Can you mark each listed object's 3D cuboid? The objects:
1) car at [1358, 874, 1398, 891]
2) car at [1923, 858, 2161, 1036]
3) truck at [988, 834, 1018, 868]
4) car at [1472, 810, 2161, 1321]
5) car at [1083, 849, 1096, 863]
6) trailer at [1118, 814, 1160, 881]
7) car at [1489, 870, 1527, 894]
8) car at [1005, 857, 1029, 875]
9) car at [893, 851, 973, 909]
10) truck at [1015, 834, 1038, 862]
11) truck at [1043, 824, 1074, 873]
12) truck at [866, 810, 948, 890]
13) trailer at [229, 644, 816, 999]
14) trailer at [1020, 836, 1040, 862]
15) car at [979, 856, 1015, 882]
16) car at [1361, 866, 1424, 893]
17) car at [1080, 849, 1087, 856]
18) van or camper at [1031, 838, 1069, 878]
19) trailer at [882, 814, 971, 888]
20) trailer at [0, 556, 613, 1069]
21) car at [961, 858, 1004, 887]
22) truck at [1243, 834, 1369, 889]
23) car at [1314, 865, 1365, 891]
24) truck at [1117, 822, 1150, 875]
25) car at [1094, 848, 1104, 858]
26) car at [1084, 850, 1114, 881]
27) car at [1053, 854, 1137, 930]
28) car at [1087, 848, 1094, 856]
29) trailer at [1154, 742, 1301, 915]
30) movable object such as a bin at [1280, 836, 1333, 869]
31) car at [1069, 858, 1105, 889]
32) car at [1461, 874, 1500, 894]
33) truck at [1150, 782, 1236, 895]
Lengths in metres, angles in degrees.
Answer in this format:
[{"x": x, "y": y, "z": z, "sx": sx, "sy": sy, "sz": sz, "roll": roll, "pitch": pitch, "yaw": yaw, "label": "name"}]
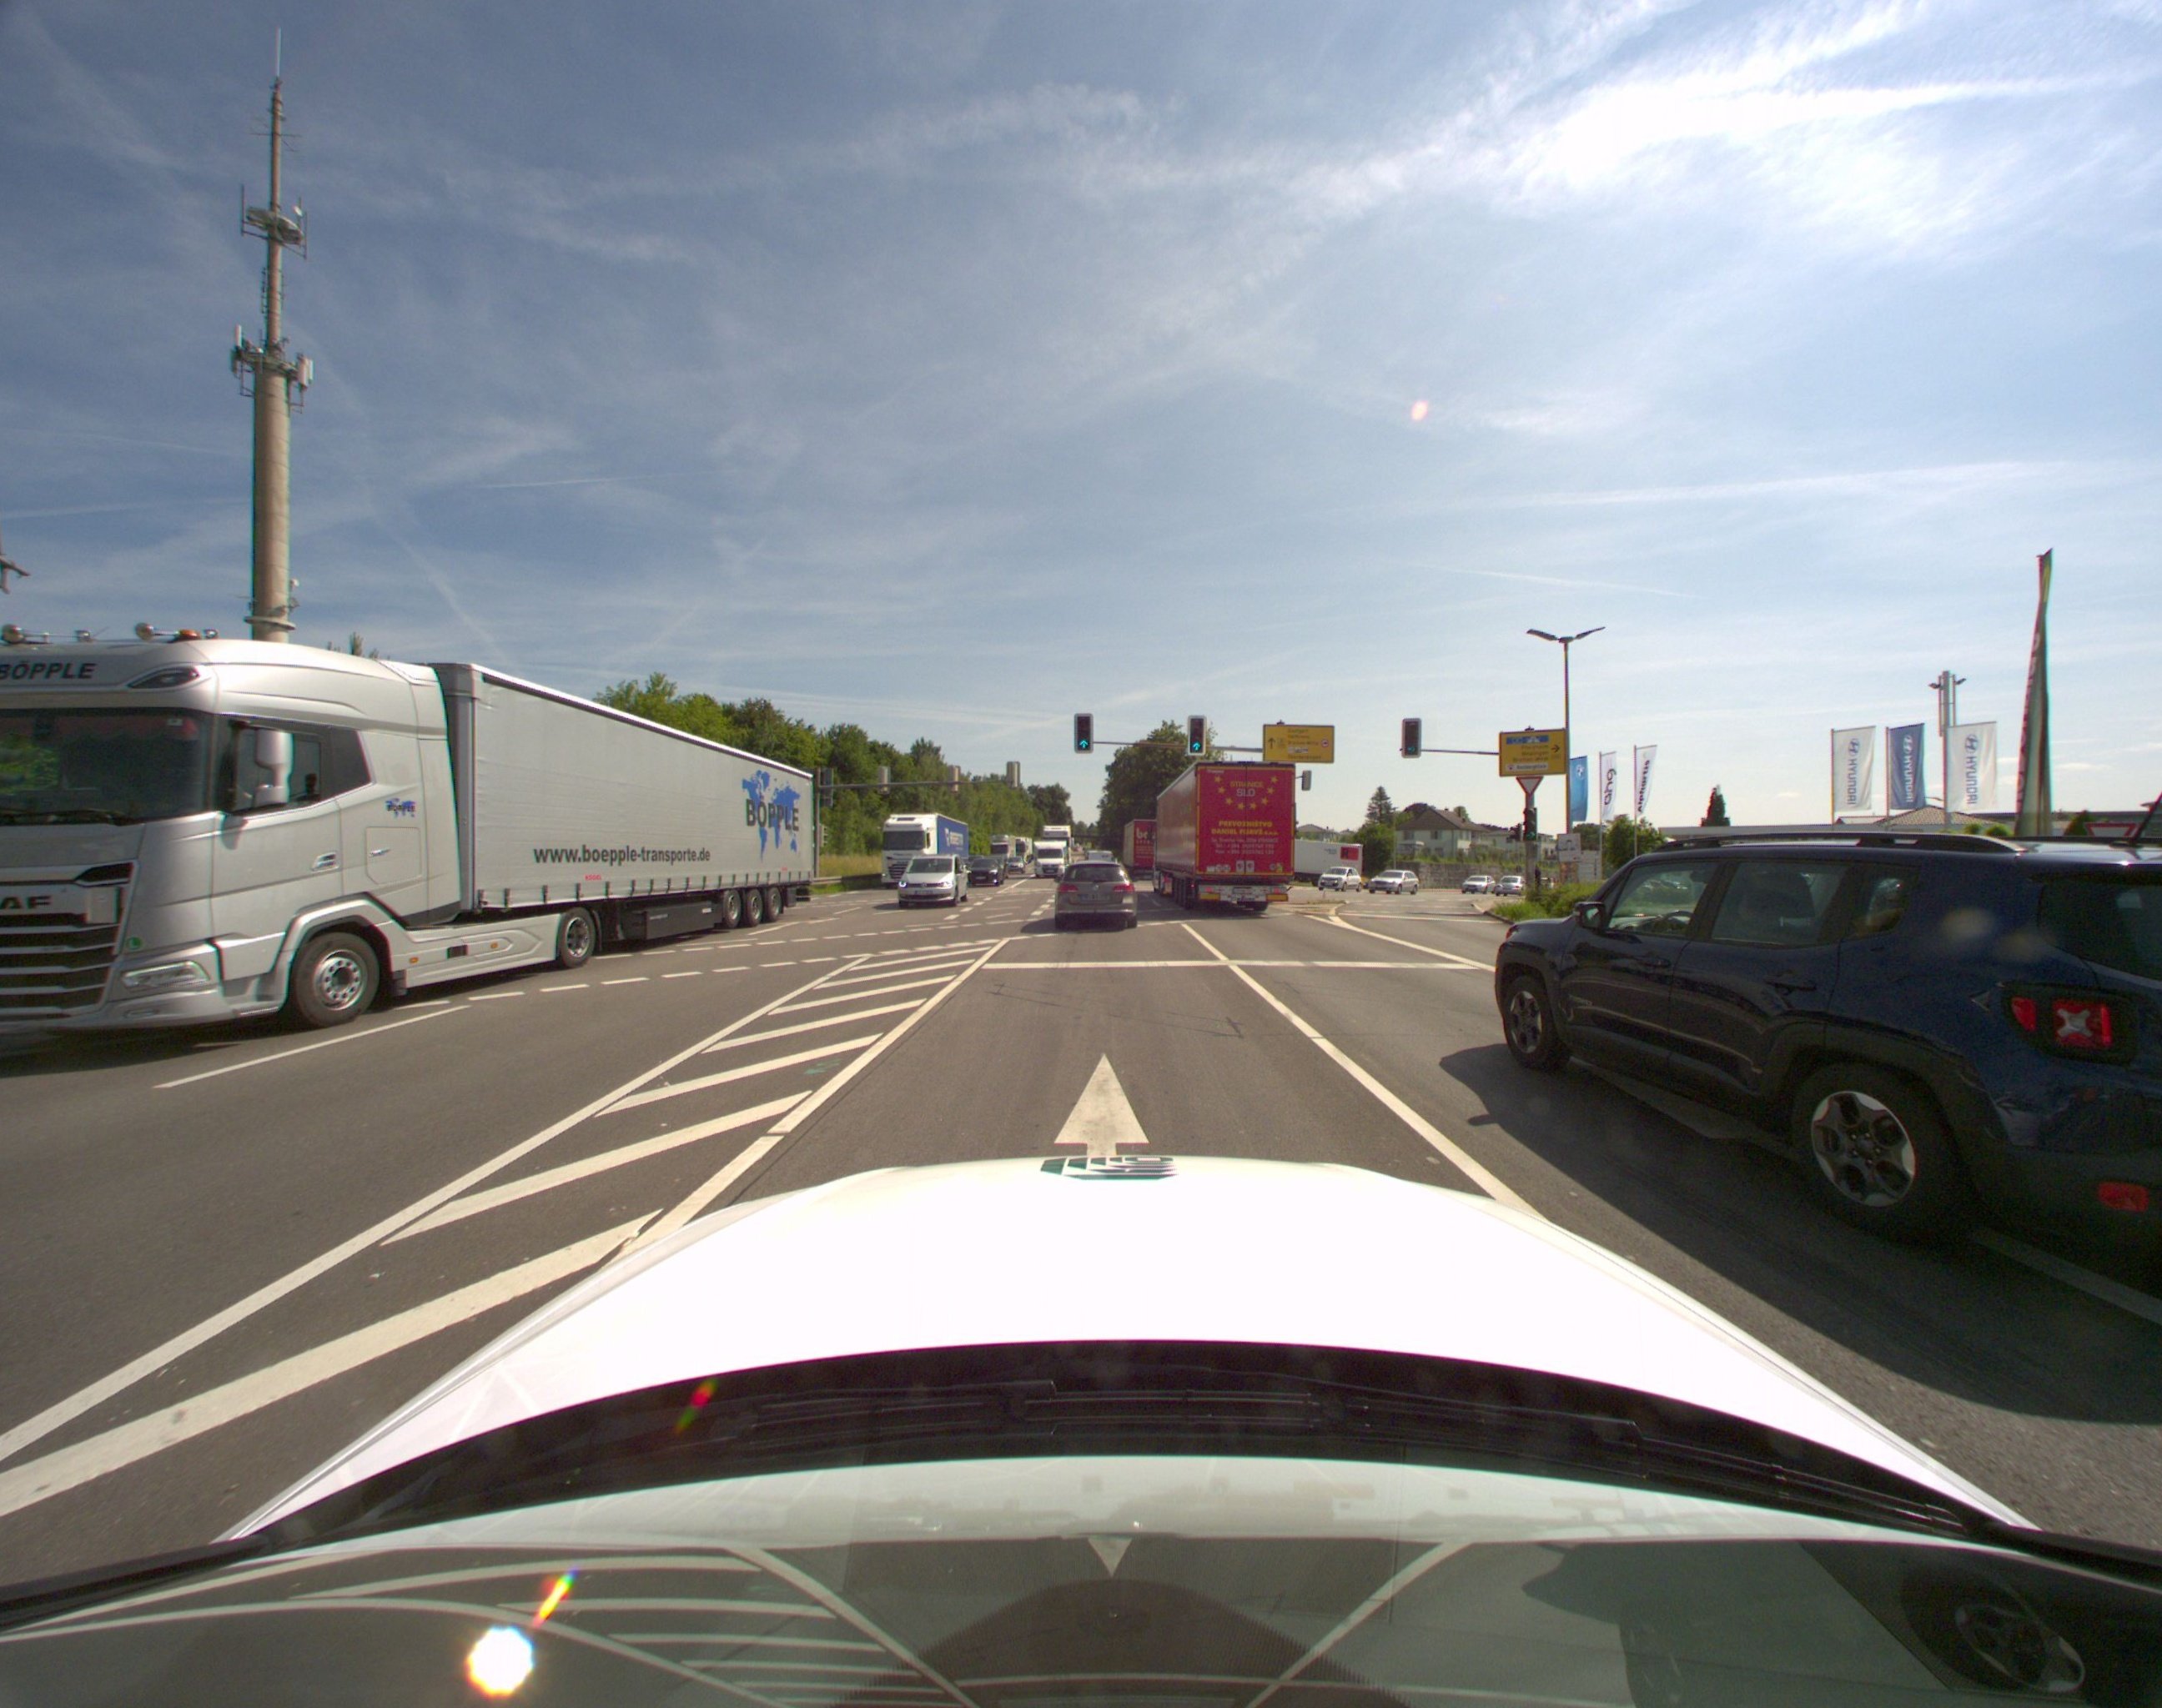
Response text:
[{"x": 26.275, "y": 2.521, "z": 72.041, "sx": 1.974, "sy": 1.460, "sz": 4.347, "roll": -1, "pitch": -2, "yaw": 40, "label": "car"}, {"x": 10.942, "y": 0.840, "z": 9.046, "sx": 4.473, "sy": 1.519, "sz": 1.976, "roll": -1, "pitch": 0, "yaw": -41, "label": "car"}, {"x": -9.600, "y": -0.370, "z": 101.160, "sx": 2.721, "sy": 3.999, "sz": 9.616, "roll": -1, "pitch": 0, "yaw": -1, "label": "truck"}, {"x": 4.034, "y": 0.681, "z": 4.643, "sx": 1.764, "sy": 1.654, "sz": 4.001, "roll": -1, "pitch": 0, "yaw": 2, "label": "car"}, {"x": 1.264, "y": 0.314, "z": 122.870, "sx": 1.987, "sy": 2.013, "sz": 3.999, "roll": -1, "pitch": 0, "yaw": -1, "label": "car"}, {"x": 4.051, "y": -0.417, "z": 58.855, "sx": 2.386, "sy": 4.243, "sz": 13.082, "roll": -1, "pitch": 0, "yaw": 2, "label": "trailer"}, {"x": 30.646, "y": 2.014, "z": 58.412, "sx": 1.974, "sy": 1.575, "sz": 4.025, "roll": 2, "pitch": 0, "yaw": 33, "label": "car"}, {"x": -5.652, "y": 1.014, "z": 72.052, "sx": 1.719, "sy": 1.502, "sz": 4.001, "roll": -1, "pitch": 0, "yaw": 1, "label": "car"}, {"x": -4.830, "y": 0.784, "z": 27.115, "sx": 1.837, "sy": 1.732, "sz": 4.587, "roll": 1, "pitch": 0, "yaw": -1, "label": "car"}, {"x": -8.106, "y": -0.848, "z": 122.555, "sx": 2.821, "sy": 4.116, "sz": 9.677, "roll": -1, "pitch": 0, "yaw": -1, "label": "truck"}, {"x": -1.934, "y": -0.488, "z": 71.444, "sx": 2.530, "sy": 4.088, "sz": 6.262, "roll": -1, "pitch": 0, "yaw": -1, "label": "truck"}, {"x": -9.476, "y": -0.195, "z": 45.173, "sx": 3.178, "sy": 4.080, "sz": 6.343, "roll": -1, "pitch": 0, "yaw": -1, "label": "truck"}, {"x": -8.821, "y": -0.379, "z": 16.526, "sx": 2.684, "sy": 4.147, "sz": 13.869, "roll": -1, "pitch": 0, "yaw": -2, "label": "trailer"}, {"x": -8.207, "y": -0.751, "z": 131.783, "sx": 2.832, "sy": 4.069, "sz": 8.752, "roll": -1, "pitch": 0, "yaw": -1, "label": "trailer"}, {"x": -5.847, "y": 1.029, "z": 57.008, "sx": 1.986, "sy": 1.726, "sz": 4.001, "roll": -1, "pitch": 0, "yaw": 1, "label": "car"}, {"x": 19.019, "y": 1.567, "z": 49.569, "sx": 1.975, "sy": 1.505, "sz": 5.030, "roll": 1, "pitch": -1, "yaw": 40, "label": "car"}, {"x": 0.814, "y": -0.434, "z": 260.936, "sx": 1.987, "sy": 2.013, "sz": 3.999, "roll": -1, "pitch": 0, "yaw": -1, "label": "car"}, {"x": -2.110, "y": 0.285, "z": 57.891, "sx": 2.323, "sy": 2.600, "sz": 6.978, "roll": -1, "pitch": 0, "yaw": 0, "label": "van or camper"}, {"x": -9.518, "y": -0.139, "z": 52.215, "sx": 3.084, "sy": 4.079, "sz": 14.122, "roll": -1, "pitch": 0, "yaw": -1, "label": "trailer"}, {"x": -8.562, "y": -0.327, "z": 9.609, "sx": 2.639, "sy": 4.105, "sz": 6.175, "roll": -1, "pitch": 0, "yaw": -2, "label": "trailer"}, {"x": -5.273, "y": 0.950, "z": 43.926, "sx": 1.989, "sy": 1.485, "sz": 4.449, "roll": -1, "pitch": 0, "yaw": -3, "label": "car"}, {"x": 18.062, "y": 0.663, "z": 65.327, "sx": 9.692, "sy": 3.628, "sz": 2.751, "roll": 5, "pitch": -2, "yaw": -17, "label": "truck"}, {"x": 16.284, "y": 1.510, "z": 51.231, "sx": 1.689, "sy": 1.504, "sz": 3.778, "roll": 1, "pitch": -2, "yaw": 40, "label": "car"}, {"x": 4.240, "y": -0.423, "z": 66.155, "sx": 2.397, "sy": 4.128, "sz": 5.523, "roll": -1, "pitch": 0, "yaw": 1, "label": "truck"}, {"x": 3.762, "y": -0.205, "z": 174.150, "sx": 1.987, "sy": 2.013, "sz": 3.999, "roll": -1, "pitch": 0, "yaw": -1, "label": "car"}, {"x": 1.150, "y": 0.708, "z": 53.377, "sx": 1.765, "sy": 1.936, "sz": 3.976, "roll": -1, "pitch": 0, "yaw": -1, "label": "car"}, {"x": 0.259, "y": 0.776, "z": 18.527, "sx": 1.686, "sy": 1.513, "sz": 3.998, "roll": -1, "pitch": 0, "yaw": -1, "label": "car"}, {"x": 2.549, "y": -0.589, "z": 217.951, "sx": 1.987, "sy": 2.013, "sz": 3.999, "roll": -1, "pitch": 0, "yaw": -1, "label": "car"}, {"x": 4.338, "y": -0.637, "z": 27.348, "sx": 2.829, "sy": 4.365, "sz": 13.171, "roll": 1, "pitch": 0, "yaw": 2, "label": "trailer"}, {"x": 23.118, "y": -0.162, "z": 83.318, "sx": 2.863, "sy": 3.208, "sz": 6.748, "roll": -1, "pitch": 0, "yaw": 37, "label": "movable object such as a bin"}, {"x": 0.285, "y": 1.001, "z": 42.732, "sx": 1.765, "sy": 1.513, "sz": 3.998, "roll": -1, "pitch": 0, "yaw": -1, "label": "car"}, {"x": 32.339, "y": 2.428, "z": 65.923, "sx": 1.894, "sy": 1.498, "sz": 4.024, "roll": 1, "pitch": -1, "yaw": 40, "label": "car"}, {"x": 4.515, "y": -0.584, "z": 34.036, "sx": 2.859, "sy": 4.281, "sz": 5.840, "roll": 1, "pitch": 0, "yaw": 1, "label": "truck"}]
